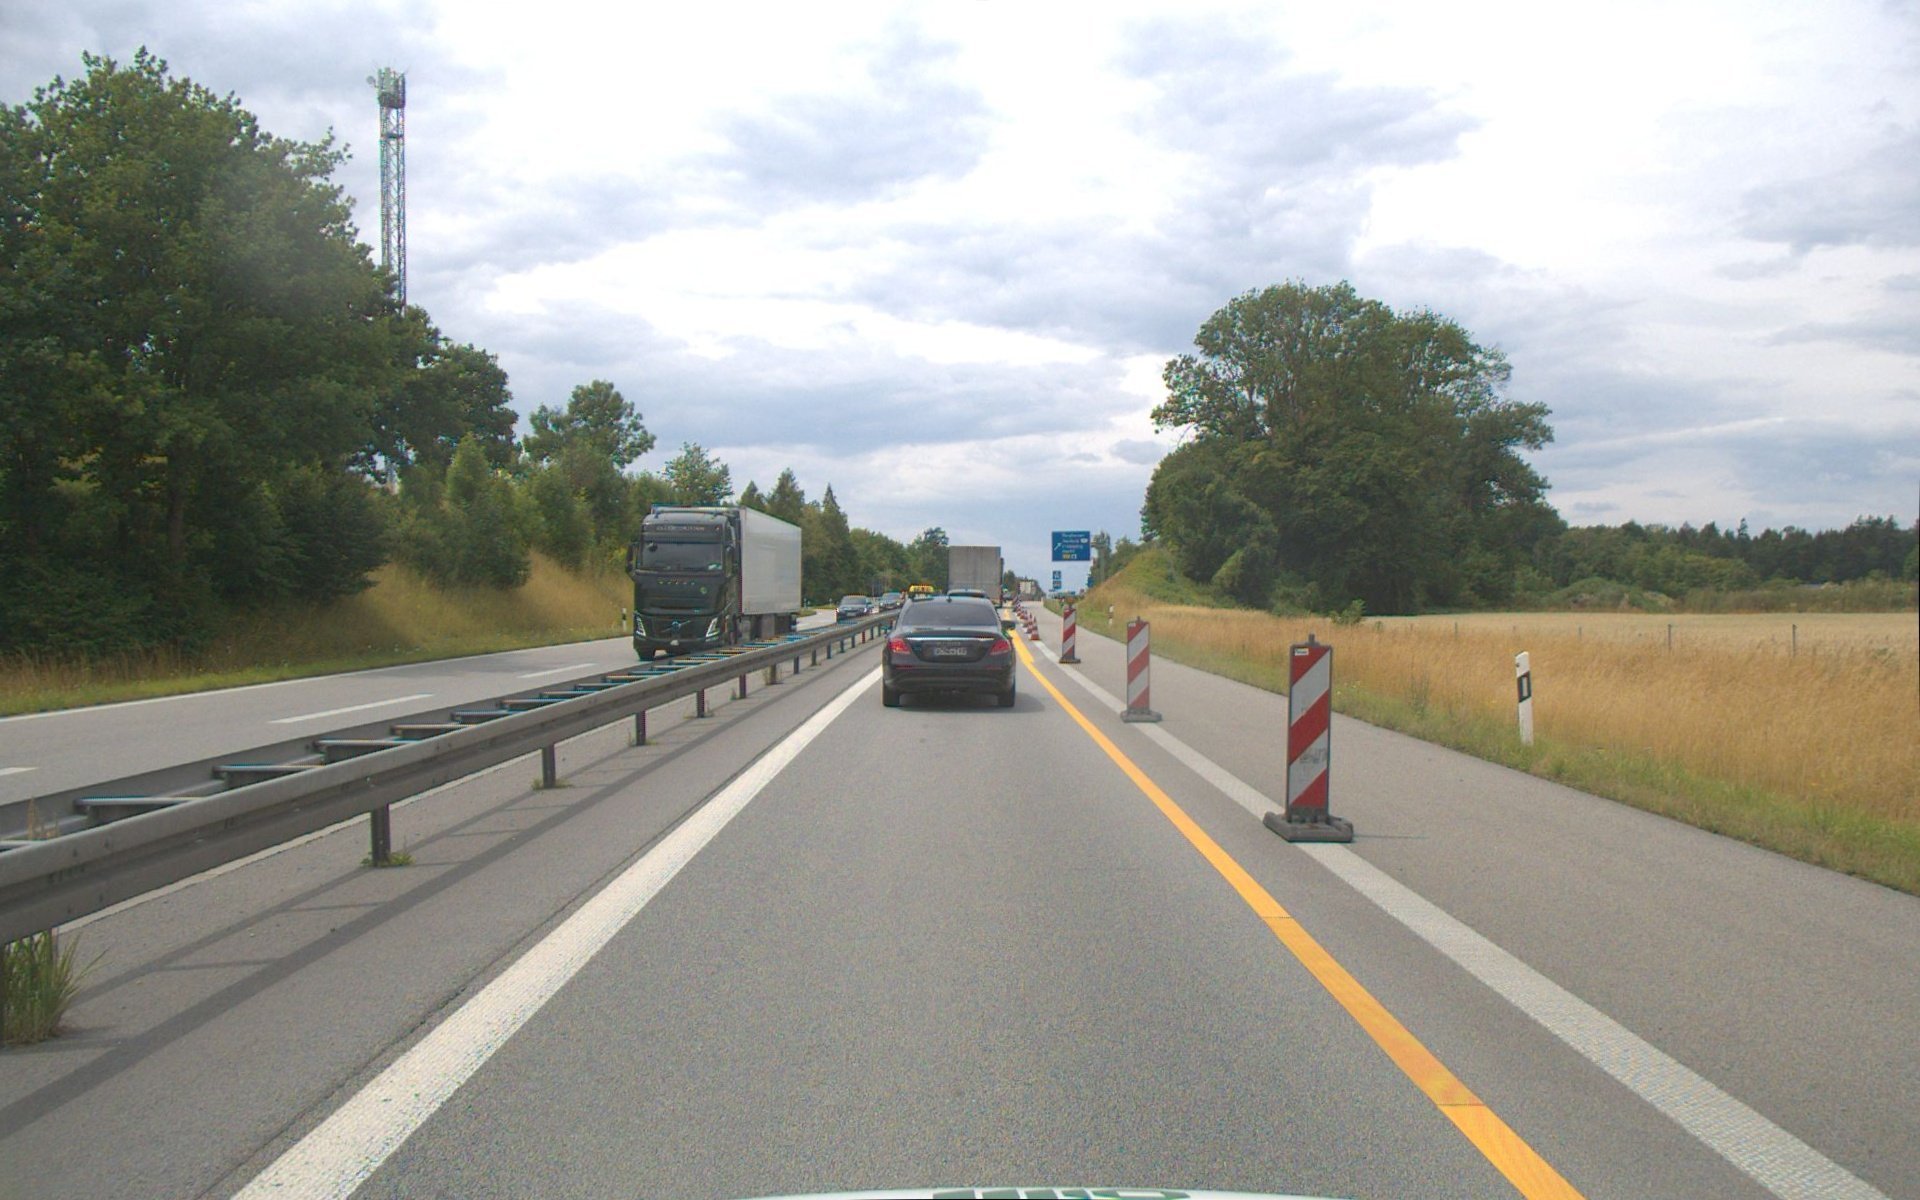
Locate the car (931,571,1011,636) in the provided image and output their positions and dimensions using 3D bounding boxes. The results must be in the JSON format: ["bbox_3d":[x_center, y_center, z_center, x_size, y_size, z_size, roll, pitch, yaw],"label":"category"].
[{"bbox_3d":[0.329,0.138,55.084,1.957,2.049,3.991,1,-1,-10],"label":"car"}]

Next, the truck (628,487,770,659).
[{"bbox_3d":[-6.933,-0.639,44.820,2.585,4.243,6.985,1,-1,1],"label":"truck"}]

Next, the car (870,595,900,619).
[{"bbox_3d":[-5.476,0.532,121.640,1.953,1.646,4.000,1,-1,0],"label":"car"}]

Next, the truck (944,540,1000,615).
[{"bbox_3d":[0.547,-1.059,82.957,2.535,3.586,4.810,1,-1,-2],"label":"truck"}]

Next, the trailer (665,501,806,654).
[{"bbox_3d":[-6.864,-0.568,52.410,2.585,4.243,12.188,1,-1,1],"label":"trailer"}]

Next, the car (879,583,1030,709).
[{"bbox_3d":[0.011,0.609,23.186,1.758,1.587,4.002,1,-1,5],"label":"car"}]

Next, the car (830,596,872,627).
[{"bbox_3d":[-5.905,0.625,89.955,1.953,1.646,4.000,1,-1,0],"label":"car"}]
